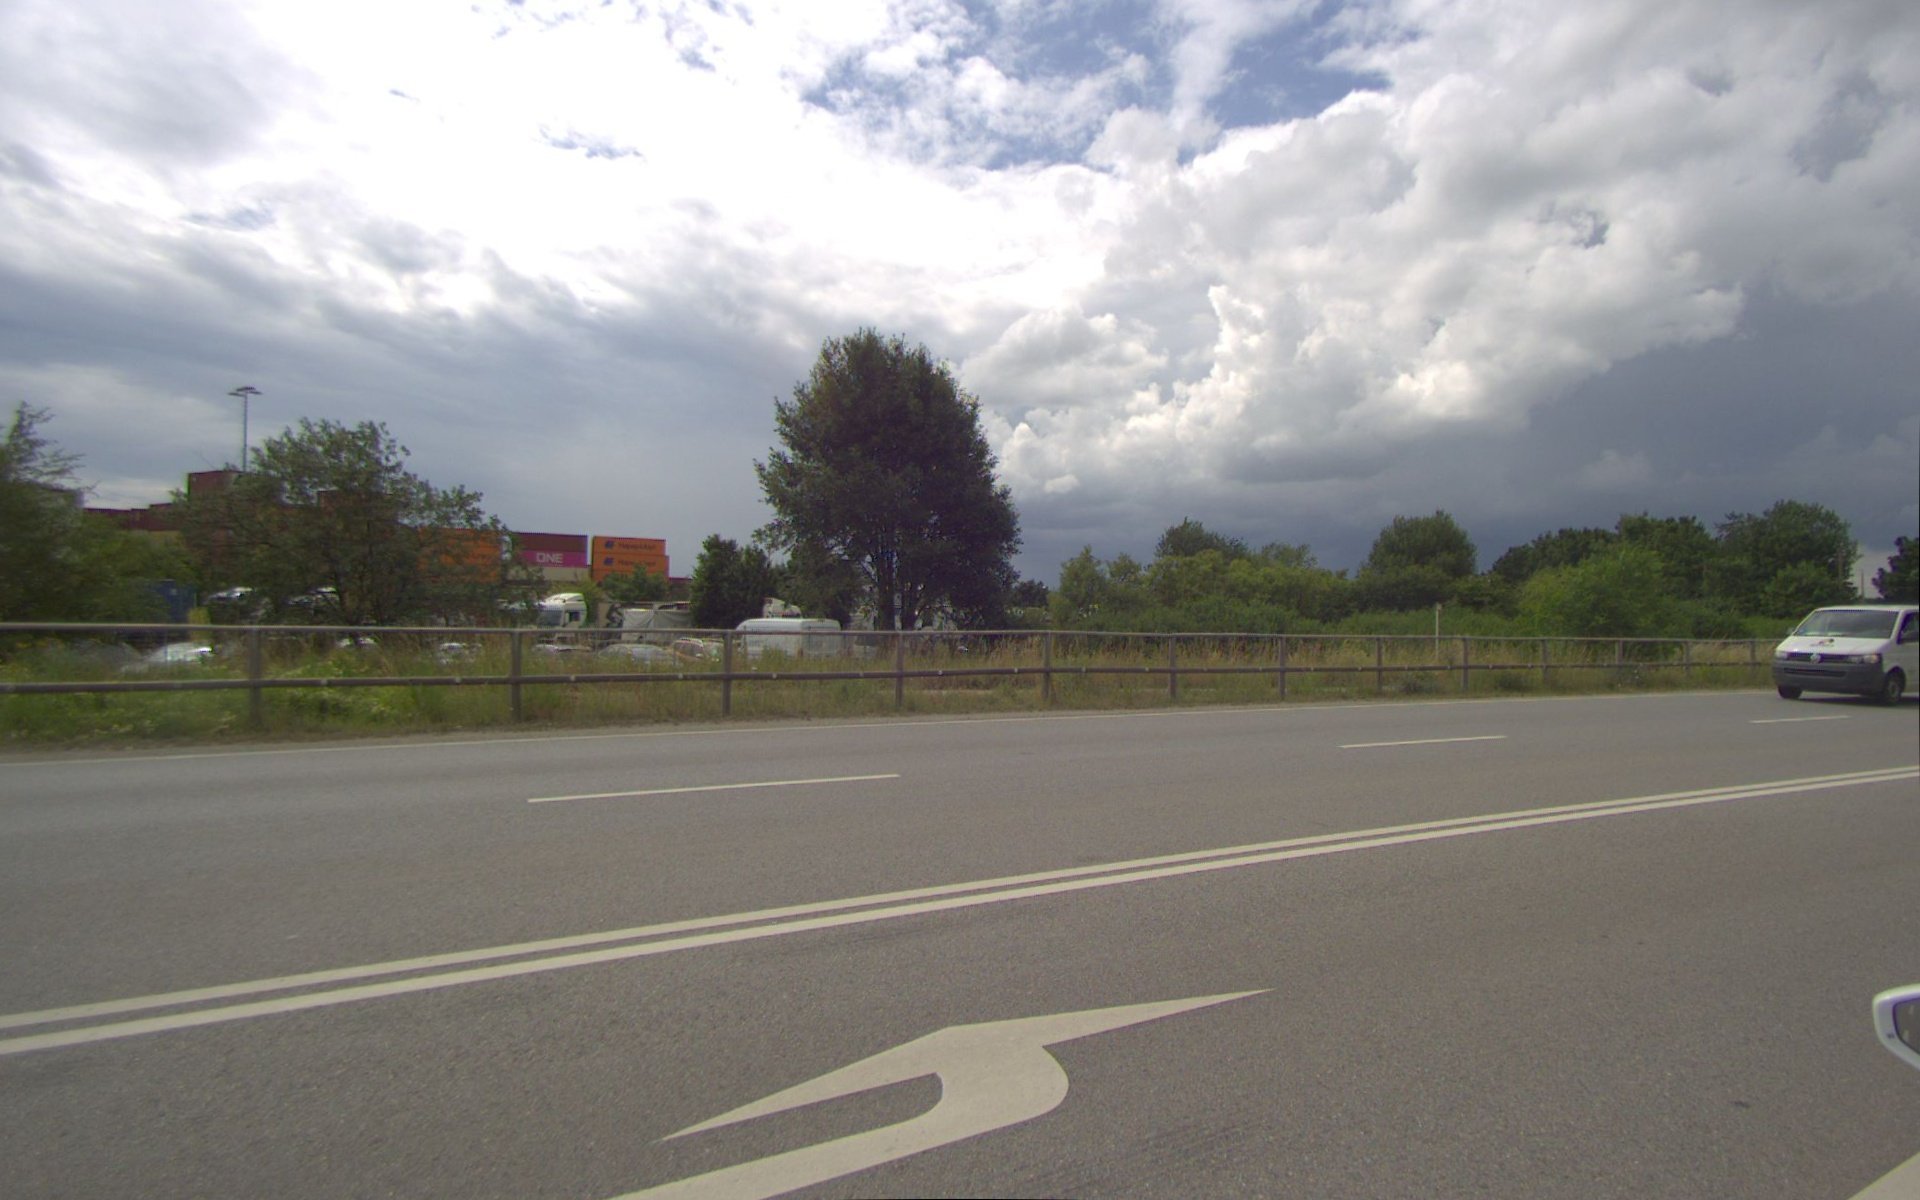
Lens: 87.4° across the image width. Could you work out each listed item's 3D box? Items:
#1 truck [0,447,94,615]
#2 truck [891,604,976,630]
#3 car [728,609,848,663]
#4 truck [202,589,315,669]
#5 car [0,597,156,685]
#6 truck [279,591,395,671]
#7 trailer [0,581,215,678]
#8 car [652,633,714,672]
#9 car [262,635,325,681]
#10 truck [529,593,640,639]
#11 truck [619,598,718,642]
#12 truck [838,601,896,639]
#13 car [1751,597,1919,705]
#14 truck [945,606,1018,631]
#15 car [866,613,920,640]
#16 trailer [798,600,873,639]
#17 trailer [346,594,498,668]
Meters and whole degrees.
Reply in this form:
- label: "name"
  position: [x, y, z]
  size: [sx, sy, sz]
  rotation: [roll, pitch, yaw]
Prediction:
- label: "truck"
  position: [-30.791, -2.142, 30.587]
  size: [2.759, 5.063, 6.168]
  rotation: [1, 0, 36]
- label: "truck"
  position: [-2.276, 1.470, 86.932]
  size: [7.030, 2.040, 1.990]
  rotation: [2, -1, -22]
- label: "car"
  position: [-6.377, 1.270, 36.951]
  size: [4.520, 1.758, 1.989]
  rotation: [2, 0, 43]
- label: "truck"
  position: [-39.805, 1.605, 57.168]
  size: [2.155, 4.350, 4.855]
  rotation: [1, -1, 20]
- label: "car"
  position: [-21.892, 0.887, 23.911]
  size: [1.961, 1.901, 4.544]
  rotation: [1, 0, -3]
- label: "truck"
  position: [-35.698, 1.759, 57.736]
  size: [2.155, 4.350, 5.430]
  rotation: [1, -1, 20]
- label: "trailer"
  position: [-42.135, 1.372, 47.996]
  size: [10.319, 4.350, 3.205]
  rotation: [1, -1, -40]
- label: "car"
  position: [-13.765, 2.569, 49.728]
  size: [1.825, 1.742, 3.963]
  rotation: [1, -1, -33]
- label: "car"
  position: [-28.944, 2.467, 43.567]
  size: [1.829, 1.742, 3.954]
  rotation: [1, -1, -40]
- label: "truck"
  position: [-23.711, 1.000, 63.793]
  size: [2.603, 2.718, 6.649]
  rotation: [1, -1, 26]
- label: "truck"
  position: [-19.055, 1.285, 66.056]
  size: [2.602, 2.718, 6.652]
  rotation: [1, -1, 23]
- label: "truck"
  position: [-6.793, 1.438, 73.342]
  size: [3.687, 2.713, 1.984]
  rotation: [1, -1, -30]
- label: "car"
  position: [18.850, 1.009, 20.802]
  size: [4.603, 2.040, 1.988]
  rotation: [1, -1, -25]
- label: "truck"
  position: [1.919, 1.644, 88.624]
  size: [6.140, 2.040, 1.990]
  rotation: [2, -1, -22]
- label: "car"
  position: [-5.449, 2.131, 81.686]
  size: [3.955, 2.040, 1.983]
  rotation: [2, -1, -31]
- label: "trailer"
  position: [-8.922, 1.420, 72.104]
  size: [5.008, 2.695, 1.984]
  rotation: [1, -1, -30]
- label: "trailer"
  position: [-33.635, 1.895, 63.364]
  size: [2.155, 4.350, 9.378]
  rotation: [1, -1, 20]
